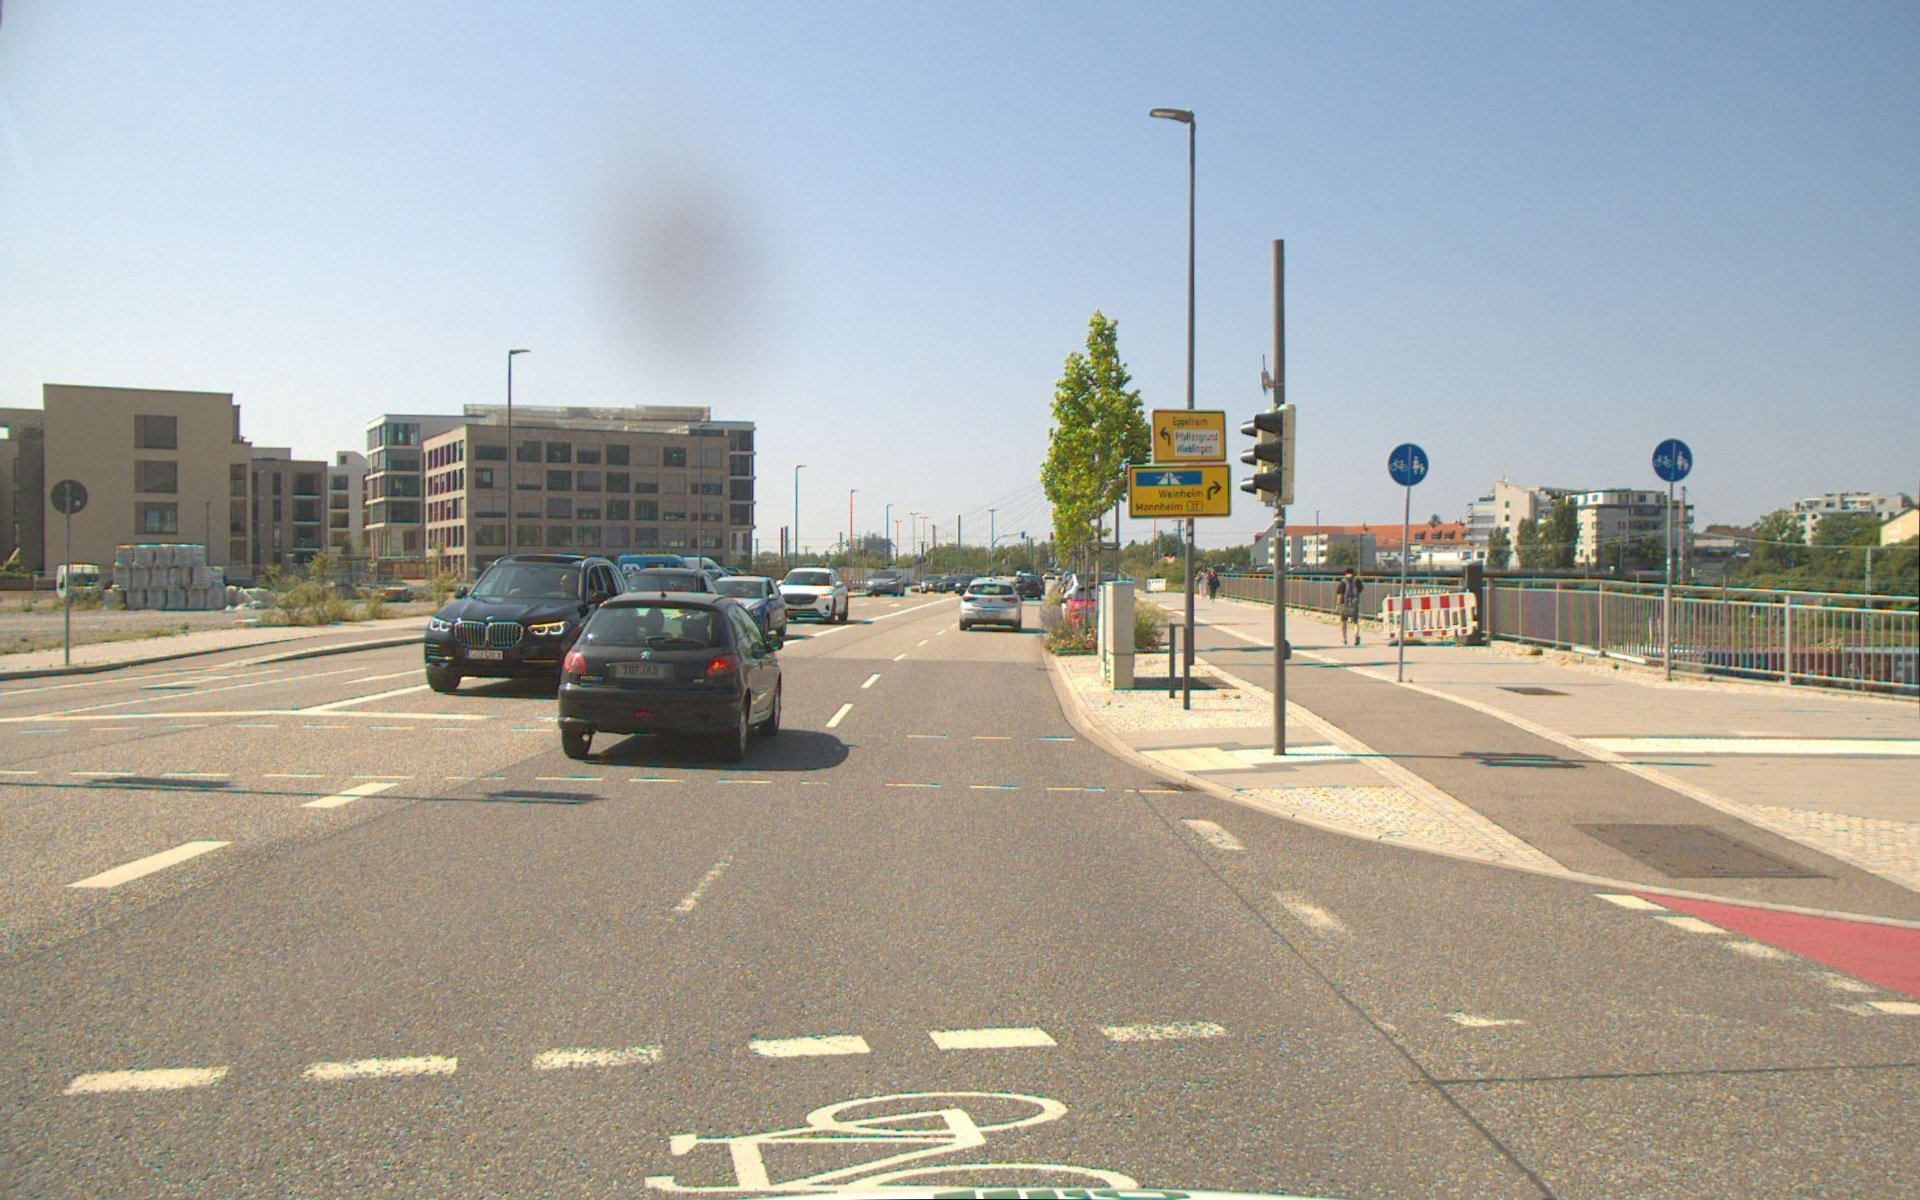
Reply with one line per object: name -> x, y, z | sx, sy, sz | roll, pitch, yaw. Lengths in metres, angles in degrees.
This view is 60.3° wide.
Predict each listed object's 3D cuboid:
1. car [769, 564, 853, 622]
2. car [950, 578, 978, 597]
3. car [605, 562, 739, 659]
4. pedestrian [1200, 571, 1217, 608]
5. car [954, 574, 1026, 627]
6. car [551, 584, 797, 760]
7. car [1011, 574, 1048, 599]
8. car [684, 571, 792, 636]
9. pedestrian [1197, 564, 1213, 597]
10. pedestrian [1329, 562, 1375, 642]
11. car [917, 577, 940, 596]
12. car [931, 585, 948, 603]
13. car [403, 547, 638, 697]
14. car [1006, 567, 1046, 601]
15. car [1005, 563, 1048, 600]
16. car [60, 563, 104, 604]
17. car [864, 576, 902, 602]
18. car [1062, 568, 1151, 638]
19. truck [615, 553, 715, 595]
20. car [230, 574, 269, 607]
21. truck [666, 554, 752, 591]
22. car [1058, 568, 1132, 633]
car -> -4.578, -0.228, 51.442 | 1.873, 1.678, 4.733 | 1, 0, 3
car -> 0.342, -0.956, 128.186 | 1.749, 1.422, 4.574 | 1, 1, 5
car -> -5.357, 0.143, 31.252 | 1.742, 1.711, 4.100 | 0, 1, 1
pedestrian -> 11.941, -0.495, 79.335 | 0.716, 1.735, 0.651 | 2, -1, 4
car -> 0.917, -0.009, 48.374 | 1.740, 1.467, 4.003 | 1, 0, 6
car -> -2.578, 0.587, 15.687 | 1.586, 1.441, 3.728 | 1, 0, 1
car -> 4.015, -0.766, 95.889 | 1.600, 1.333, 3.996 | 2, 0, -5
car -> -5.223, 0.062, 39.420 | 1.748, 1.446, 4.284 | 1, 0, 3
pedestrian -> 13.023, -1.051, 88.073 | 0.764, 1.735, 0.742 | 1, 0, 4
pedestrian -> 8.265, 0.039, 34.909 | 0.735, 1.637, 0.949 | -2, 1, 3
car -> -2.537, -1.097, 133.621 | 1.757, 1.441, 3.999 | 2, 0, 0
car -> -1.983, -0.584, 157.298 | 1.547, 1.590, 3.673 | 2, -1, 0
car -> -5.917, 0.223, 22.878 | 1.899, 1.819, 4.656 | 2, 1, 1
car -> 3.306, -0.776, 82.333 | 1.740, 1.596, 4.002 | 2, -1, 5
car -> 3.300, -0.936, 82.547 | 1.757, 1.780, 3.998 | 1, 0, -3
car -> -50.582, -0.983, 95.274 | 1.974, 2.279, 3.957 | 1, 1, -31
car -> -4.541, -0.639, 98.388 | 1.854, 1.440, 3.599 | 2, -1, 3
car -> 3.387, 0.051, 38.910 | 1.952, 1.545, 4.002 | 1, 0, 3
truck -> -18.658, -1.673, 104.812 | 5.880, 2.587, 2.276 | 0, 1, 1
car -> -42.896, -0.605, 99.833 | 1.969, 1.881, 3.968 | 1, 1, -25
truck -> -17.001, -1.872, 112.147 | 5.451, 2.404, 2.276 | 0, 1, 2
car -> 3.675, -0.005, 45.707 | 1.833, 1.655, 4.878 | 1, 0, 3
